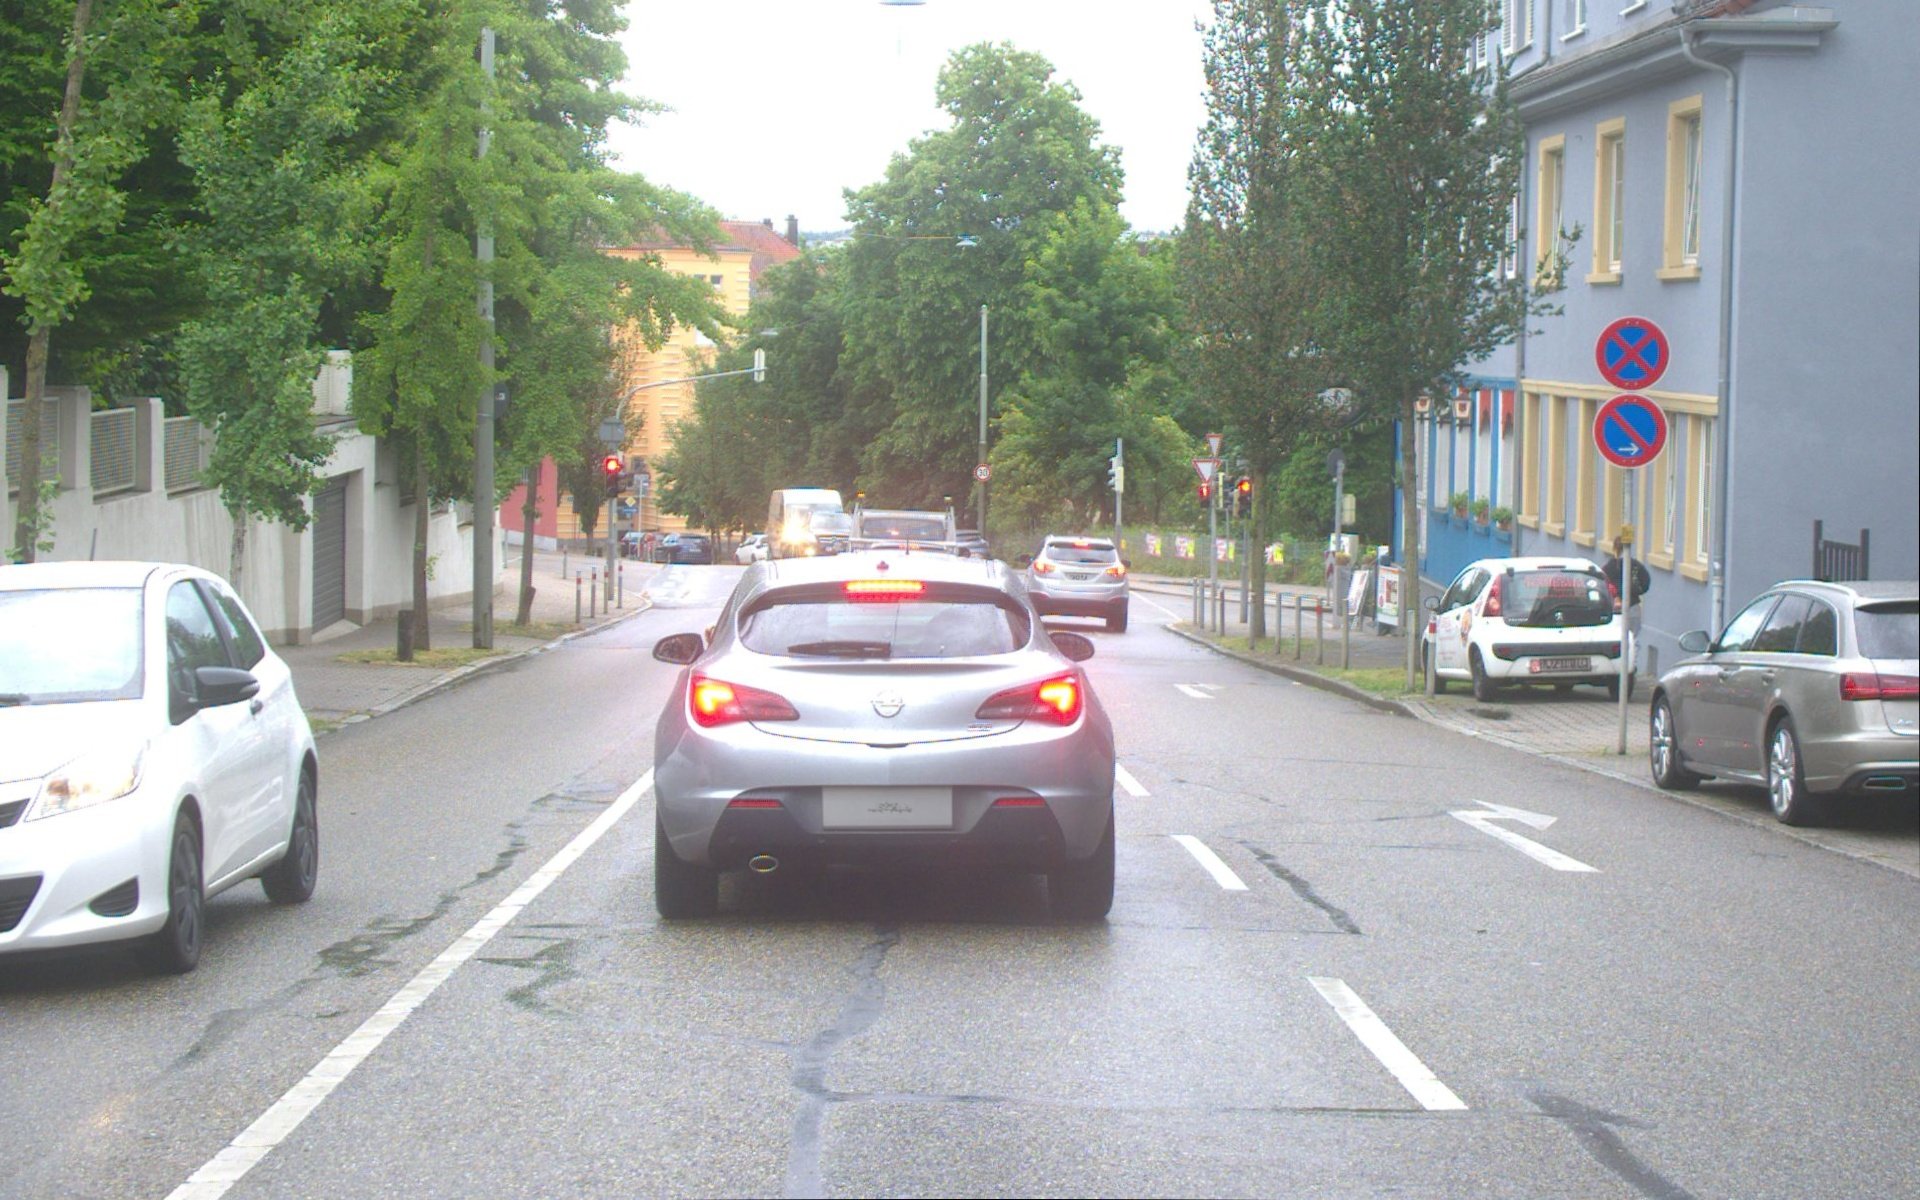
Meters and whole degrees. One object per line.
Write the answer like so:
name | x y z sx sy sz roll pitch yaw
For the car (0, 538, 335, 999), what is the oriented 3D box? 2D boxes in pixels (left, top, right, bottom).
car | -3.641 0.552 13.423 1.709 1.526 3.842 -2 1 -1

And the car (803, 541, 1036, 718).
car | -0.416 0.217 31.691 1.962 1.443 4.306 2 1 -2

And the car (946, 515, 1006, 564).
car | 0.526 -2.056 116.532 1.722 1.632 3.880 0 1 -4

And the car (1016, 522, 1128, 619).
car | 2.017 -0.566 62.766 1.722 1.708 3.880 0 1 -3

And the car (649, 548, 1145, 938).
car | -0.322 0.505 14.768 1.837 1.429 3.880 1 1 -3

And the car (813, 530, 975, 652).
car | -0.888 -0.151 44.728 1.962 1.443 4.306 2 1 -2

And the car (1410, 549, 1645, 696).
car | 5.939 0.197 36.351 1.722 1.443 3.880 0 1 -2

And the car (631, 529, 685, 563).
car | -14.559 -2.620 165.691 1.722 1.632 3.881 -1 1 -18

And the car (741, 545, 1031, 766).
car | -0.584 0.350 25.969 1.962 1.443 4.306 2 1 -2

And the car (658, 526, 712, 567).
car | -11.582 -2.237 144.572 1.722 1.632 3.881 2 0 -12

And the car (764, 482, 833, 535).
car | -5.083 -2.863 107.845 1.722 1.632 3.881 0 1 -9

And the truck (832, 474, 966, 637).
truck | -1.013 -0.730 54.721 1.962 2.420 4.936 2 1 -2

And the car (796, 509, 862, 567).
car | -3.817 -1.810 100.225 1.870 1.632 3.880 0 1 -2

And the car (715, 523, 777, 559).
car | -9.168 -2.520 147.190 1.722 1.538 3.881 -1 1 -18

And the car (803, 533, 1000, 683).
car | -0.666 0.038 37.069 1.962 1.443 4.306 2 1 -2

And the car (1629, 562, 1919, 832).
car | 5.700 0.522 21.471 1.962 1.443 4.527 0 1 -3

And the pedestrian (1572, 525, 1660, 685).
pedestrian | 7.236 0.049 37.936 0.783 1.723 0.651 2 1 -1
